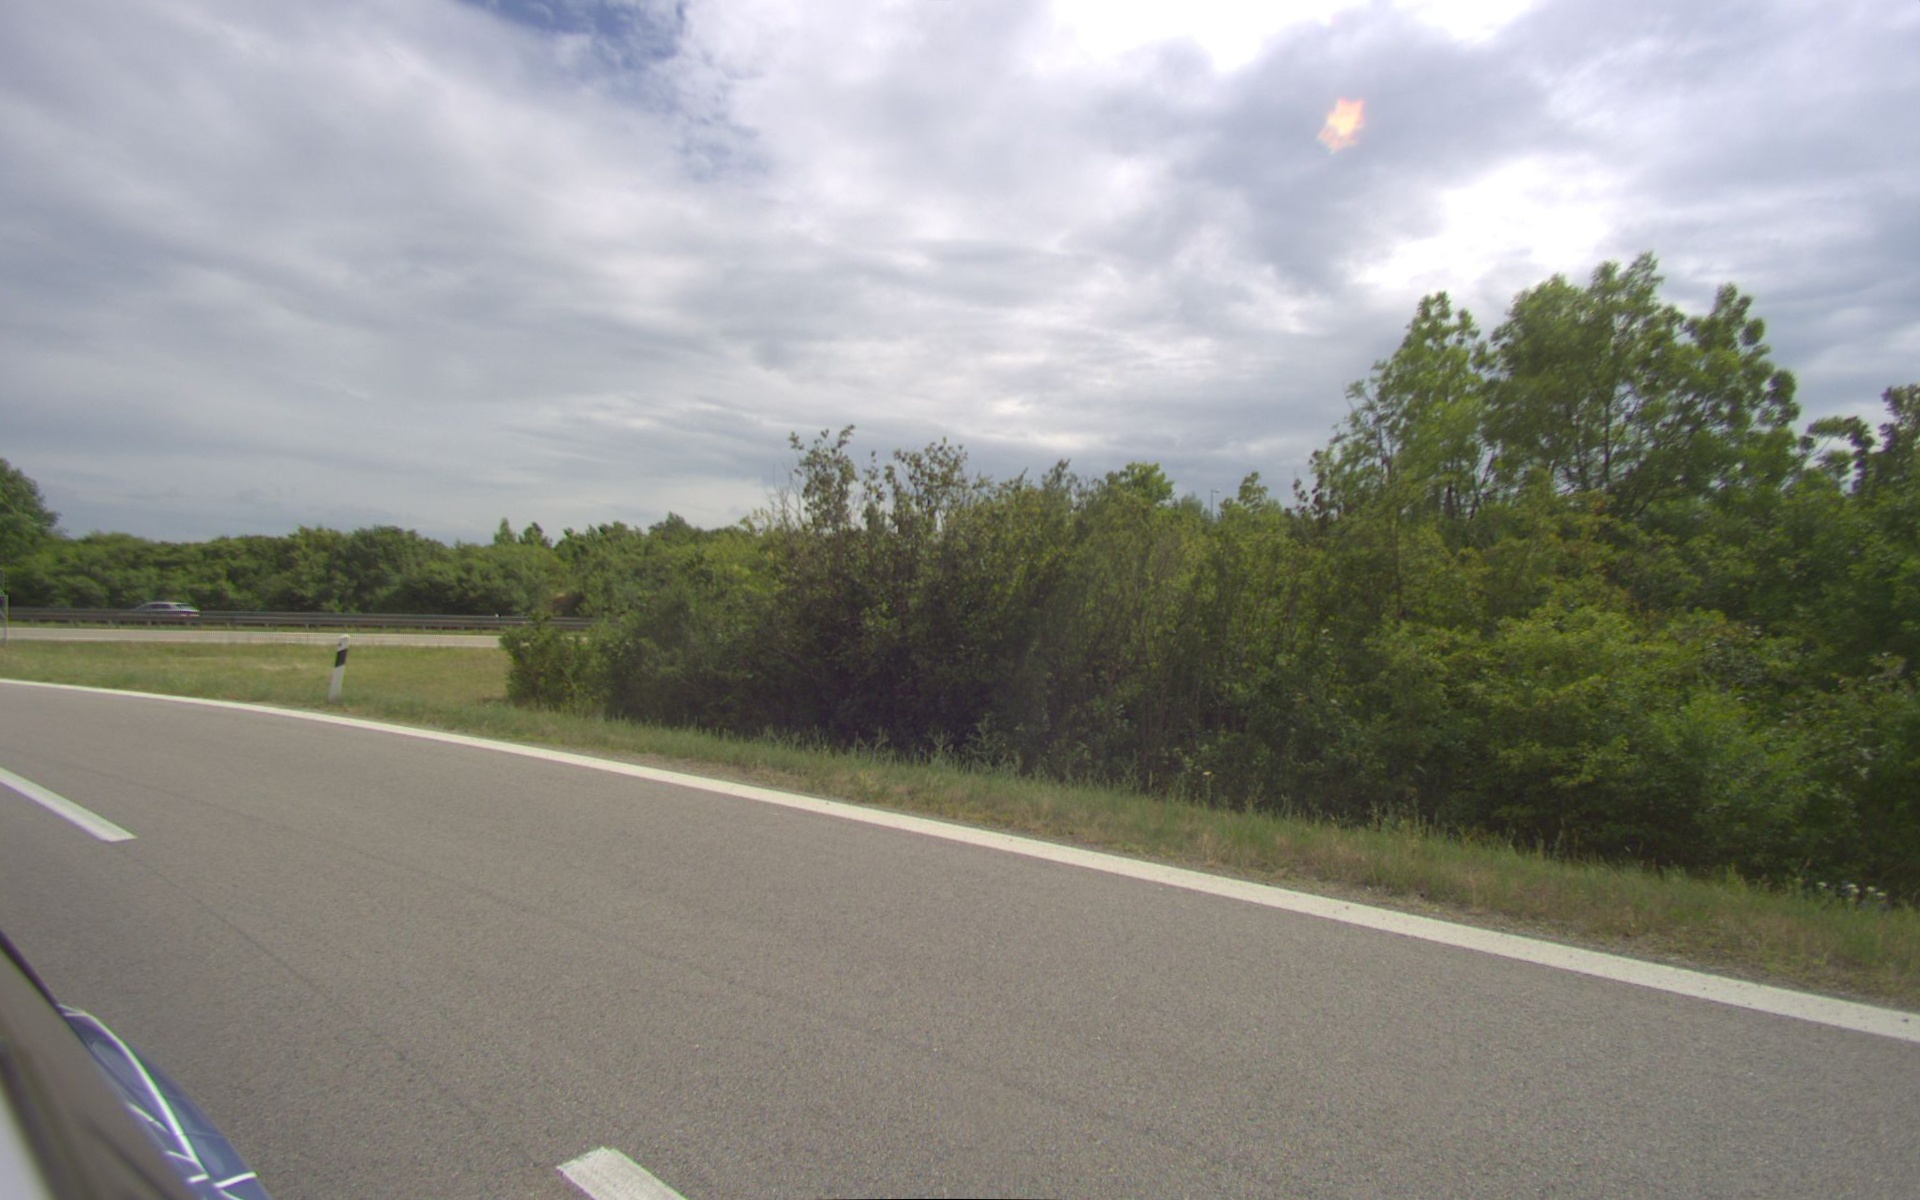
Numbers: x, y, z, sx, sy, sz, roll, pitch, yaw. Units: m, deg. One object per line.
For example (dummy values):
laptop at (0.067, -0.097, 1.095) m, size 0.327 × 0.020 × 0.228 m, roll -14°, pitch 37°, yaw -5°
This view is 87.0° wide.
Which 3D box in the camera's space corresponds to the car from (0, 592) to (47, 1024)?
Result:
car at (-5.673, 0.748, 4.362) m, size 4.534 × 1.526 × 1.973 m, roll 0°, pitch 0°, yaw 40°

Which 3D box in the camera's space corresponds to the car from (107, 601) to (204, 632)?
car at (-46.421, 0.972, 58.464) m, size 3.942 × 1.586 × 2.001 m, roll 2°, pitch -2°, yaw -2°
